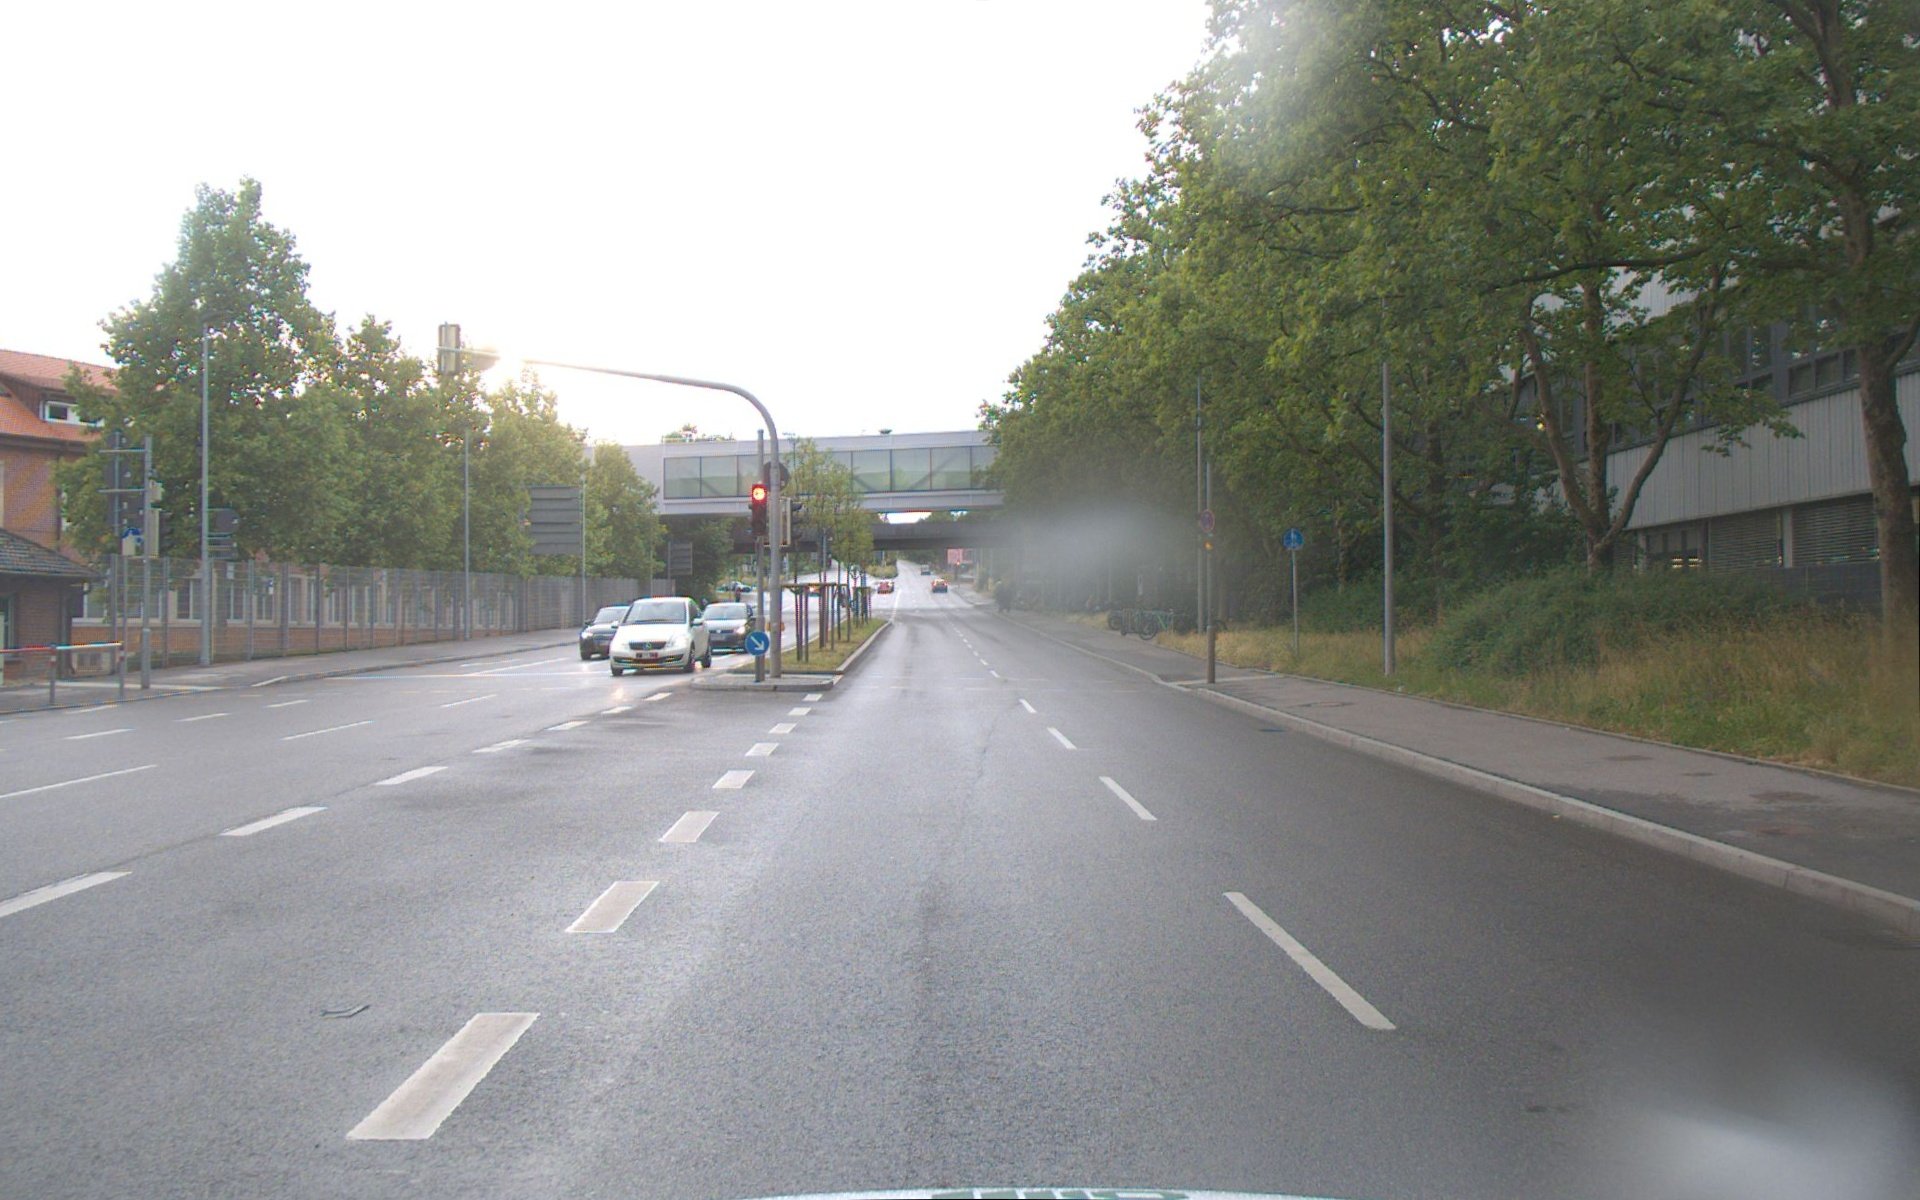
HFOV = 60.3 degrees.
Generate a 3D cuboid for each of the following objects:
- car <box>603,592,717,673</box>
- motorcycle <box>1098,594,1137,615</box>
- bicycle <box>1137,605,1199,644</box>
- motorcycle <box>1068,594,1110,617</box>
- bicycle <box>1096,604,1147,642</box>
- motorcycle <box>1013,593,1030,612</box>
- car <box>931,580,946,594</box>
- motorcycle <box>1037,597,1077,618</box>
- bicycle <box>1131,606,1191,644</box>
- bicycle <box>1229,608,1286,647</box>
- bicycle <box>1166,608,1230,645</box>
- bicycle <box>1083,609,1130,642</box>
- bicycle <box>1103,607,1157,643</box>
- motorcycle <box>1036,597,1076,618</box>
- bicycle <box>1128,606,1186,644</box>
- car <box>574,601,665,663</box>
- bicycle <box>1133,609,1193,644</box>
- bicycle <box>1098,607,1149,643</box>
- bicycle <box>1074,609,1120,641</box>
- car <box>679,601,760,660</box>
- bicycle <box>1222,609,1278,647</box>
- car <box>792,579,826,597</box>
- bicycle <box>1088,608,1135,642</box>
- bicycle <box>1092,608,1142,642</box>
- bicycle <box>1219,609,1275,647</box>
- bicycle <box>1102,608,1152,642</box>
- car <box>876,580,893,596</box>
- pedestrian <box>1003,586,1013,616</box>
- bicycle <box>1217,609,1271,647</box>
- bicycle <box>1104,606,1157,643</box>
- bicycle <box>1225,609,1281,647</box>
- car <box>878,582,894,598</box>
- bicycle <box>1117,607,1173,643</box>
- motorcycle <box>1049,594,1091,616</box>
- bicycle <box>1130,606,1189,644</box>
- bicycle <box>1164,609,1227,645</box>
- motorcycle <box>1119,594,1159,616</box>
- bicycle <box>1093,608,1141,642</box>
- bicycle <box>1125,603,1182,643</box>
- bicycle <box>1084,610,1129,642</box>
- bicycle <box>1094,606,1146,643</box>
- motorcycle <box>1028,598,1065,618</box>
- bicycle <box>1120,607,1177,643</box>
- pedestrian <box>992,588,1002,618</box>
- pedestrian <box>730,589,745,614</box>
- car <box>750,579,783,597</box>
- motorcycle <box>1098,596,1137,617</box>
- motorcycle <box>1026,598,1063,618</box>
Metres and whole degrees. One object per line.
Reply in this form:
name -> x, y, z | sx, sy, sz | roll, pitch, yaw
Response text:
car -> -6.508, 0.679, 36.233 | 1.839, 1.653, 3.778 | -1, 0, -1
motorcycle -> 9.576, 0.266, 100.387 | 2.318, 1.223, 0.723 | -1, 0, 7
bicycle -> 6.901, 0.815, 54.814 | 1.950, 1.237, 0.541 | 2, -1, 0
motorcycle -> 7.474, 0.318, 95.749 | 2.318, 1.223, 0.723 | -1, 0, 7
bicycle -> 6.502, 0.941, 66.479 | 1.950, 1.455, 0.723 | 2, -1, 0
motorcycle -> 4.473, 0.198, 121.142 | 0.775, 1.334, 2.371 | -1, 0, -9
car -> -2.613, -1.565, 200.829 | 1.837, 1.523, 4.067 | 2, -1, -1
motorcycle -> 5.902, 0.476, 100.462 | 2.318, 1.223, 0.723 | -1, 0, 7
bicycle -> 6.921, 0.854, 57.025 | 1.950, 1.255, 0.541 | 2, -1, 0
bicycle -> 10.828, 1.013, 60.165 | 1.950, 1.352, 0.576 | 2, -1, 0
bicycle -> 7.598, 0.857, 52.796 | 1.950, 1.114, 0.541 | 2, -1, 0
bicycle -> 6.335, 1.096, 71.569 | 1.923, 1.352, 0.654 | 2, -1, 0
bicycle -> 6.382, 0.940, 62.086 | 1.950, 1.263, 0.541 | 2, -1, 0
motorcycle -> 5.796, 0.465, 99.546 | 2.318, 1.223, 0.723 | -1, 0, 7
bicycle -> 6.937, 0.879, 58.368 | 1.950, 1.263, 0.541 | 2, -1, 0
car -> -9.656, 0.886, 47.181 | 1.839, 1.653, 3.778 | -1, 0, -1
bicycle -> 6.923, 0.905, 56.420 | 1.950, 1.114, 0.541 | 2, -1, 0
bicycle -> 6.501, 0.989, 65.745 | 1.950, 1.352, 0.576 | 2, -1, 0
bicycle -> 5.997, 1.104, 72.477 | 1.923, 1.352, 0.654 | 2, -1, 0
car -> -7.014, 0.864, 48.525 | 1.839, 1.653, 3.778 | -1, 0, -1
bicycle -> 10.789, 1.042, 61.593 | 1.950, 1.352, 0.576 | 2, -1, 0
car -> -17.963, -1.414, 196.622 | 1.985, 2.049, 3.935 | 3, -2, -44
bicycle -> 6.404, 1.064, 69.969 | 1.923, 1.352, 0.654 | 2, -1, 0
bicycle -> 6.452, 1.037, 68.042 | 1.950, 1.352, 0.576 | 2, -1, 0
bicycle -> 10.793, 1.056, 62.240 | 1.950, 1.352, 0.576 | 2, -1, 0
bicycle -> 6.784, 1.020, 67.337 | 1.950, 1.352, 0.576 | 2, -1, 0
car -> -9.392, -1.522, 205.366 | 1.953, 1.793, 3.999 | 2, -1, -1
pedestrian -> 3.329, 0.090, 114.308 | 0.609, 2.049, 0.605 | -1, 0, -1
bicycle -> 10.793, 1.070, 62.909 | 1.950, 1.352, 0.576 | 2, -1, 0
bicycle -> 6.590, 0.955, 63.994 | 1.950, 1.352, 0.576 | 2, -1, 0
bicycle -> 10.798, 1.028, 60.928 | 1.950, 1.352, 0.576 | 2, -1, 0
car -> -9.353, -1.287, 209.893 | 1.846, 1.793, 3.968 | 2, -1, -1
bicycle -> 6.793, 0.924, 60.718 | 1.950, 1.263, 0.541 | 2, -1, 0
motorcycle -> 6.224, 0.287, 93.532 | 2.318, 1.223, 0.723 | -1, 0, 7
bicycle -> 6.937, 0.863, 57.627 | 1.950, 1.263, 0.541 | 2, -1, 0
bicycle -> 7.590, 0.869, 53.364 | 1.950, 1.114, 0.541 | 2, -1, 0
motorcycle -> 10.580, 0.303, 97.931 | 2.318, 1.223, 0.723 | -1, 0, 7
bicycle -> 6.571, 1.055, 69.281 | 1.920, 1.352, 0.576 | 2, -1, 0
bicycle -> 6.917, 0.826, 59.081 | 1.950, 1.364, 0.541 | 2, -1, 0
bicycle -> 6.481, 1.137, 73.288 | 1.923, 1.352, 0.654 | 2, -1, 0
bicycle -> 6.261, 0.961, 64.798 | 1.950, 1.352, 0.576 | 2, -1, 0
motorcycle -> 5.492, 0.506, 104.836 | 2.318, 1.223, 0.723 | -1, 0, 7
bicycle -> 6.811, 0.904, 59.770 | 1.950, 1.263, 0.541 | 2, -1, 0
pedestrian -> 2.574, 0.179, 114.386 | 0.609, 2.049, 0.605 | -1, 0, -1
pedestrian -> -18.558, 0.113, 137.706 | 0.863, 2.039, 0.846 | 5, -4, -30
car -> -23.704, -1.487, 202.067 | 1.985, 2.049, 3.935 | 3, -2, -44
motorcycle -> 9.462, 0.409, 99.466 | 2.318, 1.223, 0.723 | -1, 0, 7
motorcycle -> 5.447, 0.520, 107.015 | 2.318, 1.223, 0.793 | -1, 0, 7
